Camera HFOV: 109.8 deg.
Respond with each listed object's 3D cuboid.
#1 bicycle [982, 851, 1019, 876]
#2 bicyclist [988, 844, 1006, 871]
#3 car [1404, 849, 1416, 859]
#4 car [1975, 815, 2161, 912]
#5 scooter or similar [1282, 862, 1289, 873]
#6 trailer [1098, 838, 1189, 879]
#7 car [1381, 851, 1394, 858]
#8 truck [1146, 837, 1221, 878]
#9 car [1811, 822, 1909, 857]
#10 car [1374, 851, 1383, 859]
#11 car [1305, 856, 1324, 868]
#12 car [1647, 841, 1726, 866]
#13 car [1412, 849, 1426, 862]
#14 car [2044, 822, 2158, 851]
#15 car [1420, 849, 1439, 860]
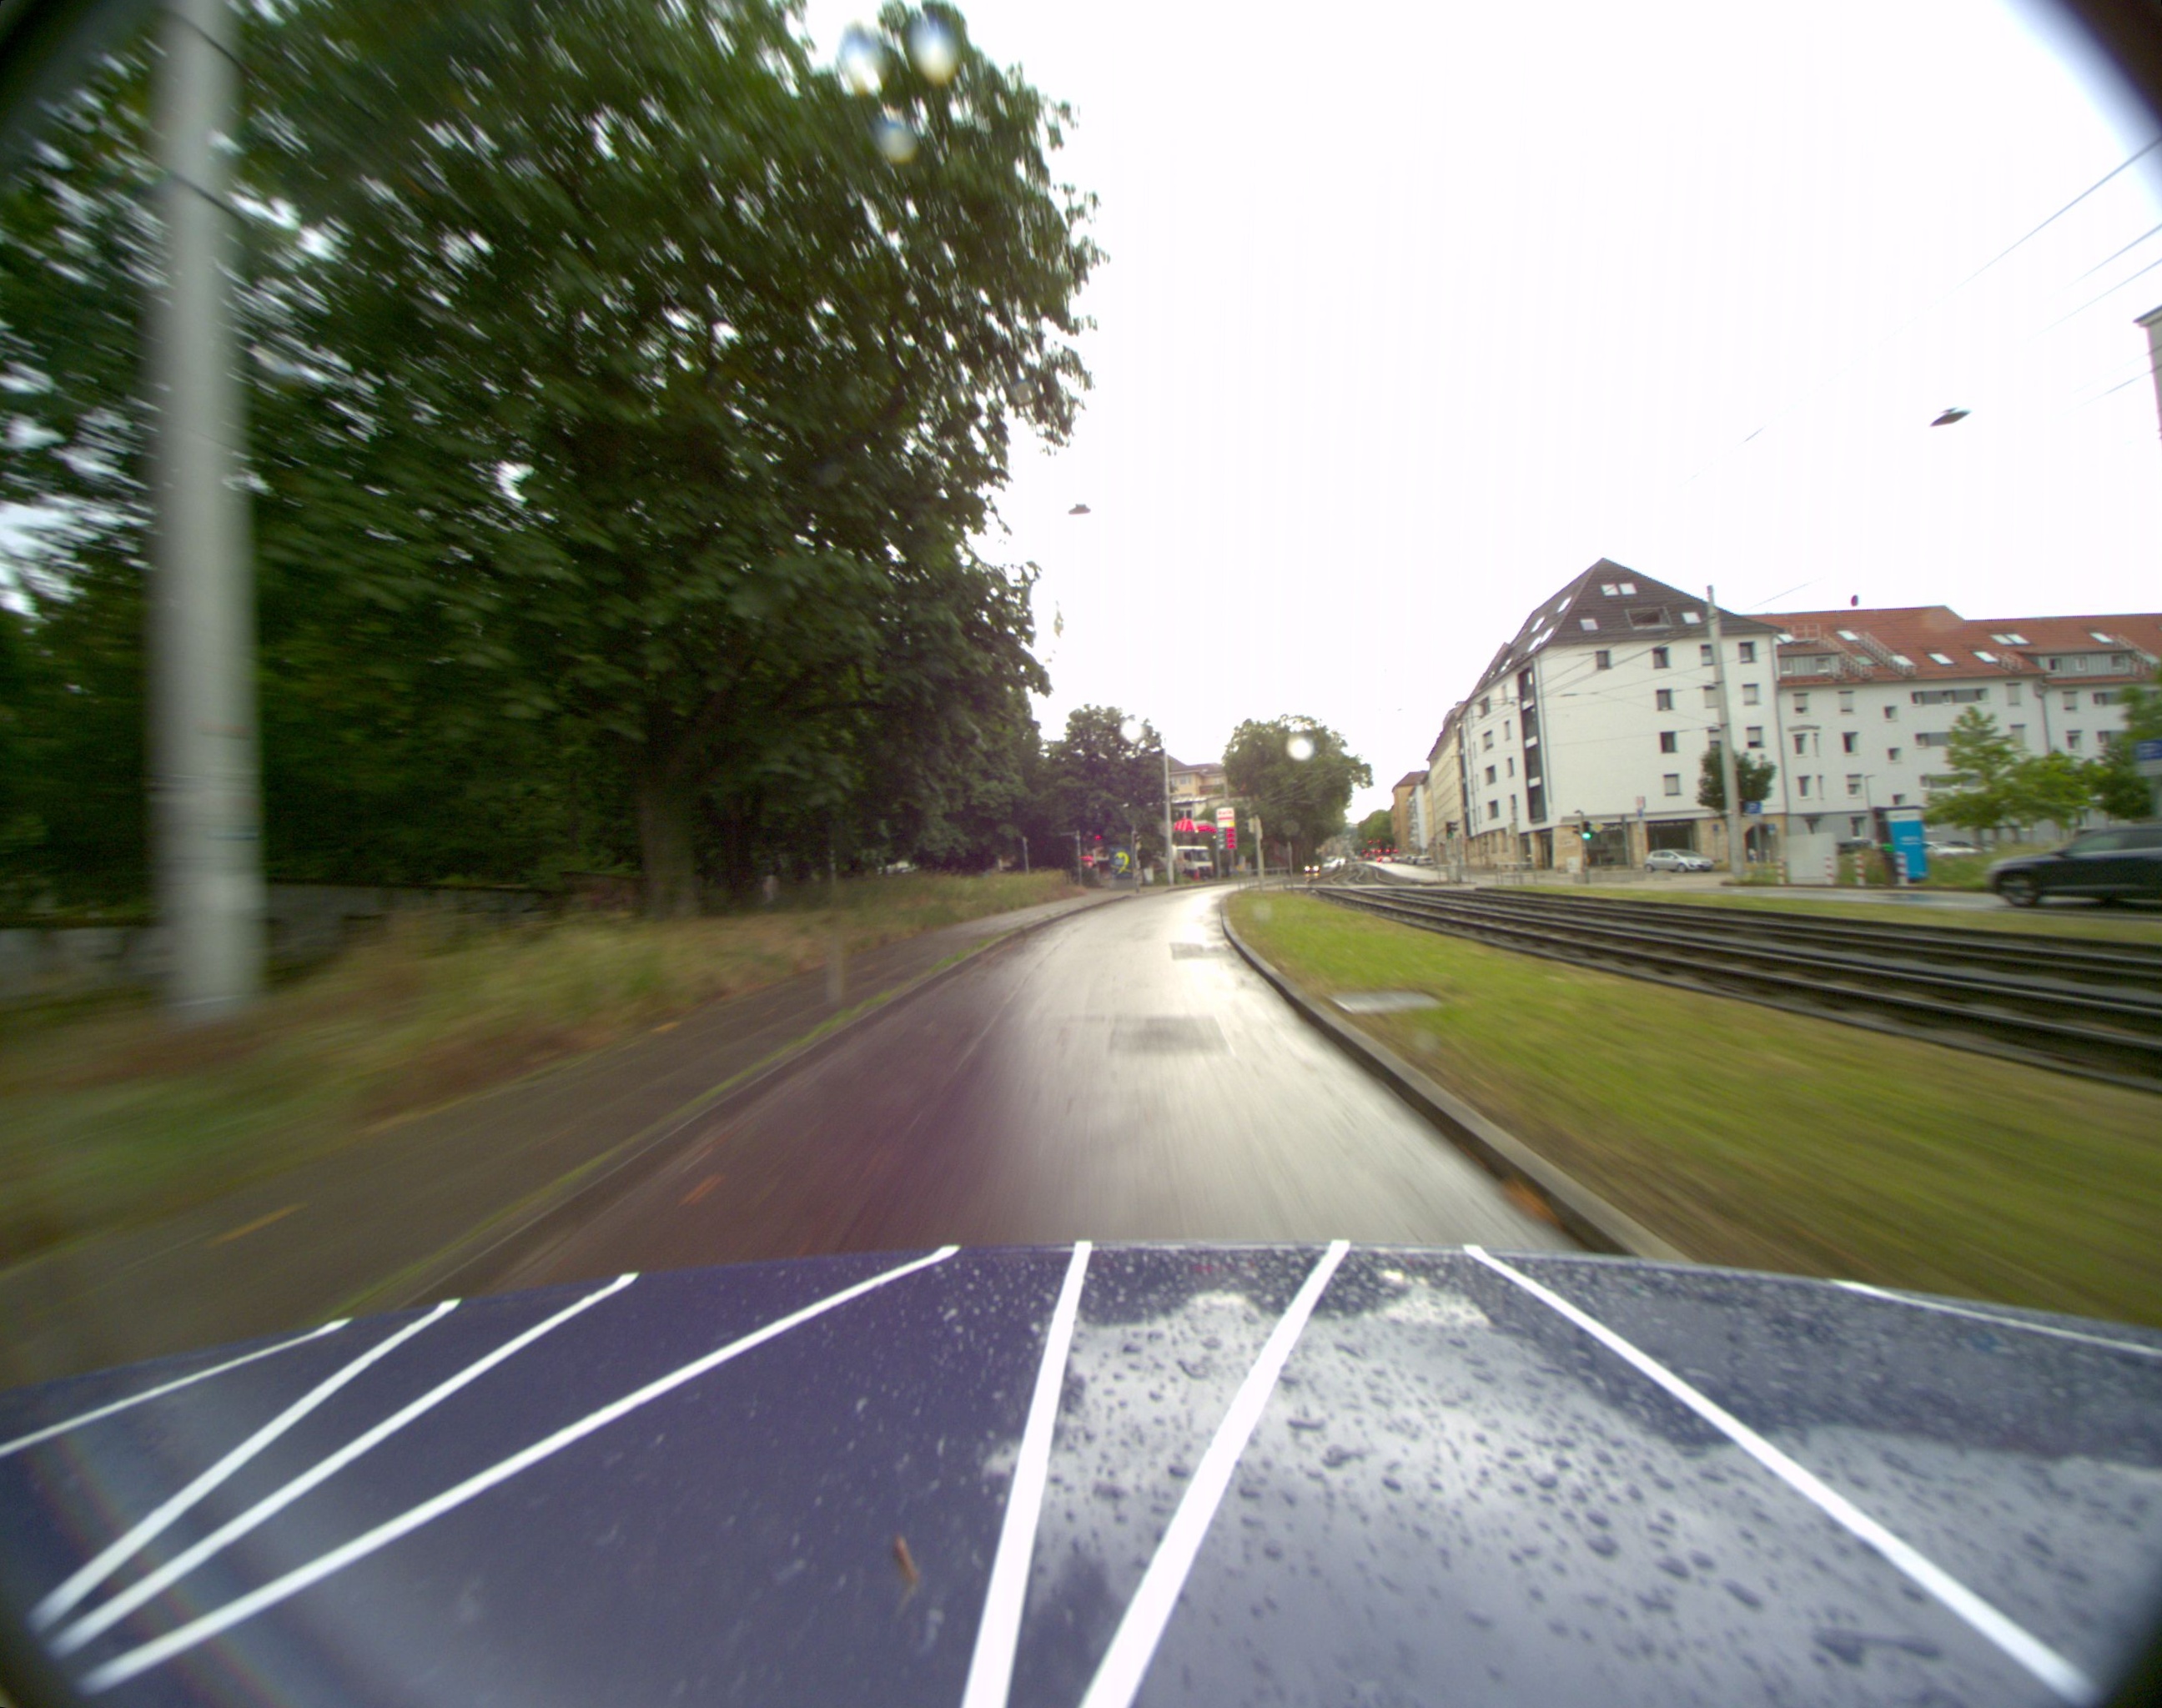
[{"bbox_3d":[-3.937,0.475,37.395,1.710,1.133,0.626,-2,0,0],"label":"bicycle"},{"bbox_3d":[-4.145,0.181,37.622,0.799,1.286,0.595,-2,-1,-1],"label":"bicyclist"},{"bbox_3d":[62.642,0.062,144.707,1.725,1.798,3.596,-2,0,17],"label":"car"},{"bbox_3d":[19.988,0.135,14.036,1.998,1.595,4.216,-5,0,4],"label":"car"},{"bbox_3d":[26.324,1.737,97.960,0.399,1.186,1.365,-2,2,34],"label":"scooter or similar"},{"bbox_3d":[5.605,0.505,70.601,2.818,3.375,9.813,-2,-1,-34],"label":"trailer"},{"bbox_3d":[69.517,0.140,172.515,1.689,1.527,5.022,-2,-1,11],"label":"car"},{"bbox_3d":[8.812,0.323,65.943,2.842,3.379,6.110,-1,-1,-36],"label":"truck"},{"bbox_3d":[48.726,-0.855,47.649,1.939,2.001,4.000,-2,-1,0],"label":"car"},{"bbox_3d":[79.546,0.170,203.226,1.946,2.001,4.006,-2,0,21],"label":"car"},{"bbox_3d":[30.487,1.035,99.038,1.886,1.482,3.856,-2,0,24],"label":"car"},{"bbox_3d":[37.586,-0.011,47.295,1.600,1.412,3.916,-2,-1,-3],"label":"car"},{"bbox_3d":[57.488,0.249,129.150,1.726,1.948,4.305,-2,0,19],"label":"car"},{"bbox_3d":[65.493,-1.079,48.893,1.939,1.608,4.001,-2,-1,1],"label":"car"},{"bbox_3d":[54.069,0.083,117.974,2.027,1.533,4.005,-2,-1,17],"label":"car"}]
